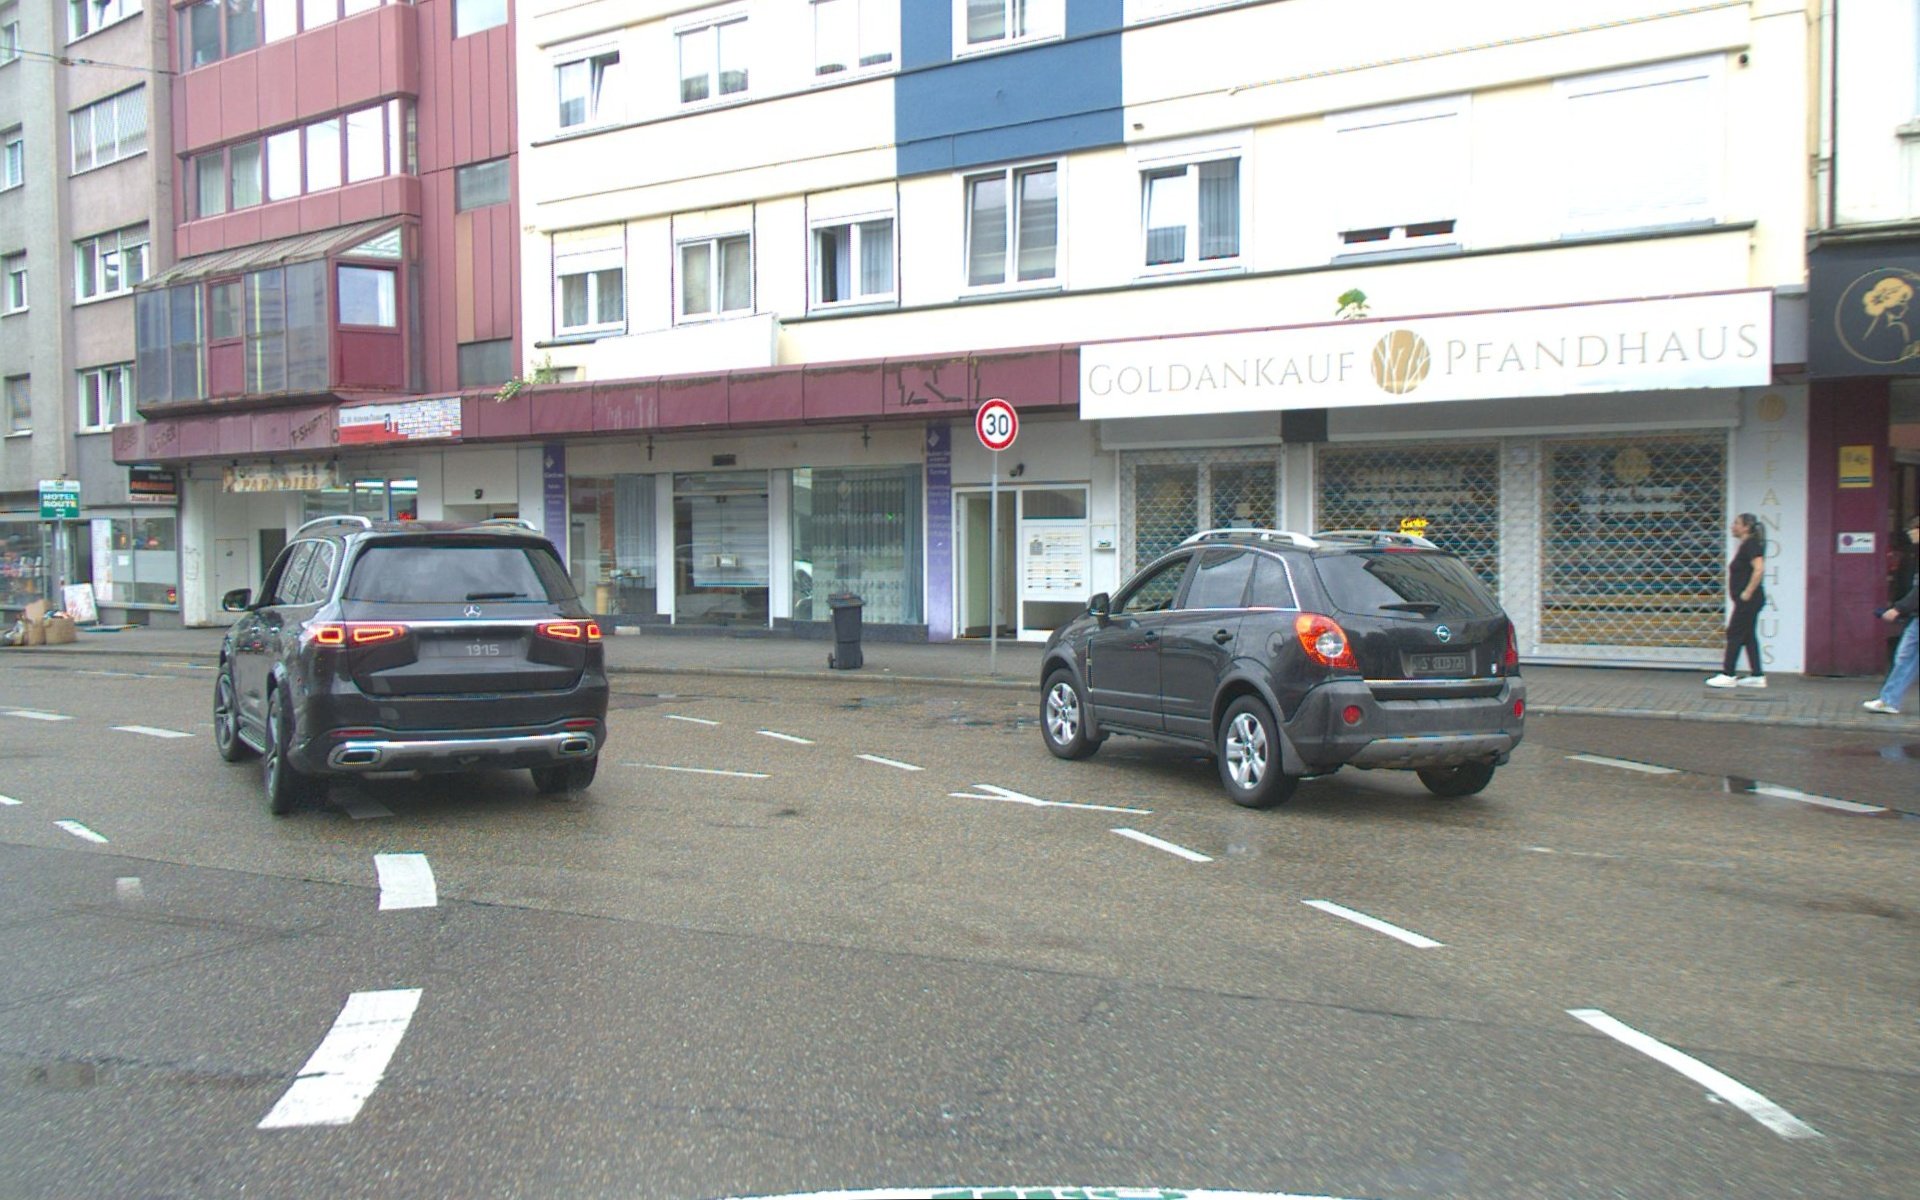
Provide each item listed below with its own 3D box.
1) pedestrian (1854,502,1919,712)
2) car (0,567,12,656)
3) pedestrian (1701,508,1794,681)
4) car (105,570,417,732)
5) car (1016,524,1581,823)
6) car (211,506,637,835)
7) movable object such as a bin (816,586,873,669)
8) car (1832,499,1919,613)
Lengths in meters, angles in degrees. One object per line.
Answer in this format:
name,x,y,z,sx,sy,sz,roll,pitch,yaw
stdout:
pedestrian,8.758,0.050,15.024,1.009,1.830,0.831,0,5,21
car,-20.315,0.163,31.985,4.407,1.687,1.821,1,-1,37
pedestrian,8.073,-0.065,16.977,0.737,1.718,0.566,-1,5,12
car,-7.099,0.482,16.594,1.757,1.422,3.939,0,-1,-41
car,2.152,0.365,11.964,1.871,1.724,4.476,0,1,-22
car,-3.989,0.327,11.724,2.017,1.830,4.618,-1,2,-29
movable object such as a bin,-1.489,0.346,21.301,0.528,0.966,0.617,-6,6,-17
car,15.322,-0.651,26.592,1.760,1.699,4.000,-1,-1,20
